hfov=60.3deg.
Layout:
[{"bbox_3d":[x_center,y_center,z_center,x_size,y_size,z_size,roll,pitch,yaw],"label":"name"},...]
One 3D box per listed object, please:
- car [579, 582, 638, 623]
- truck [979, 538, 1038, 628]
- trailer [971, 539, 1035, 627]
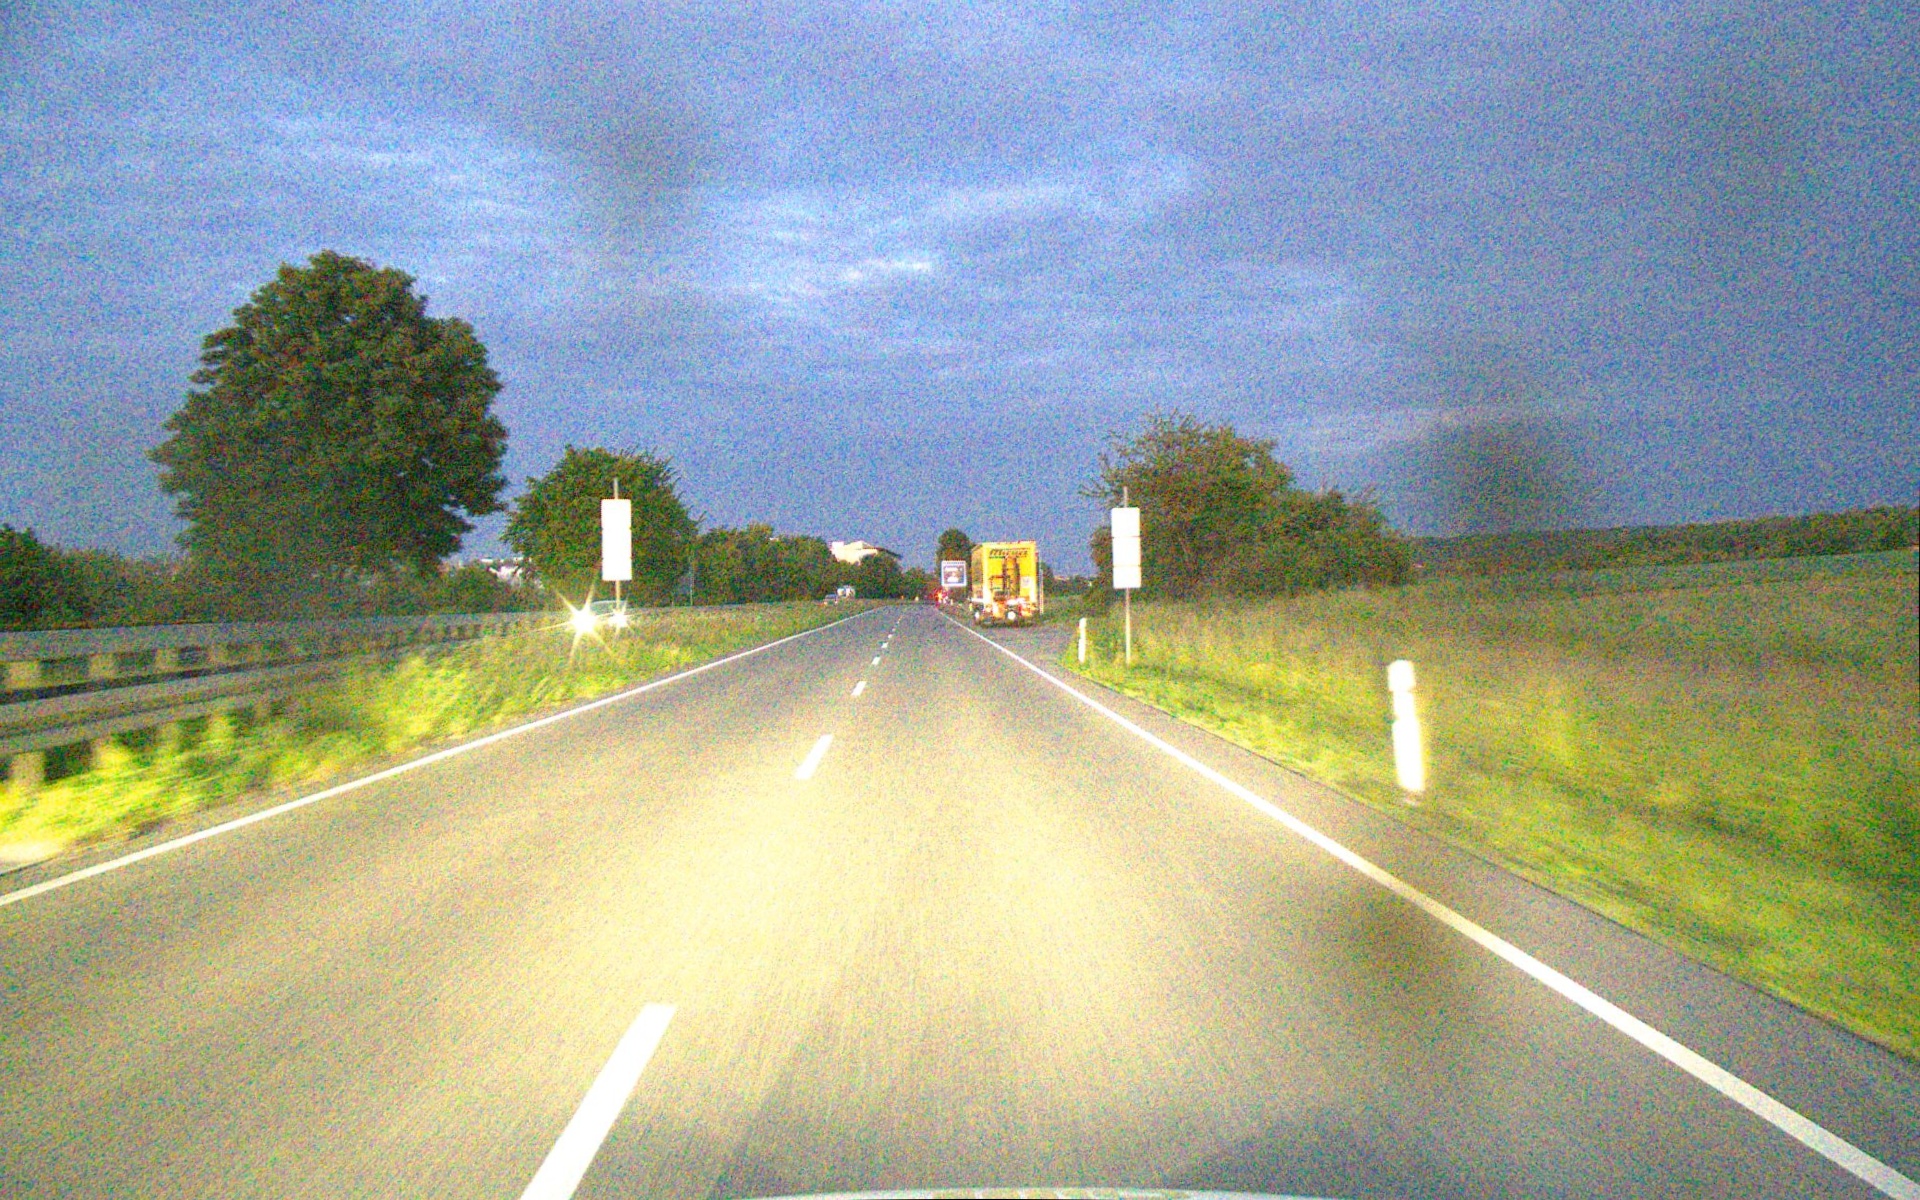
[{"bbox_3d":[-13.756,0.087,64.917,1.622,1.531,3.998,1,0,-3],"label":"car"},{"bbox_3d":[2.274,-0.803,79.098,2.527,4.142,6.129,0,0,-1],"label":"truck"},{"bbox_3d":[2.094,-0.836,85.856,2.569,4.175,12.933,-1,0,-2],"label":"trailer"}]
